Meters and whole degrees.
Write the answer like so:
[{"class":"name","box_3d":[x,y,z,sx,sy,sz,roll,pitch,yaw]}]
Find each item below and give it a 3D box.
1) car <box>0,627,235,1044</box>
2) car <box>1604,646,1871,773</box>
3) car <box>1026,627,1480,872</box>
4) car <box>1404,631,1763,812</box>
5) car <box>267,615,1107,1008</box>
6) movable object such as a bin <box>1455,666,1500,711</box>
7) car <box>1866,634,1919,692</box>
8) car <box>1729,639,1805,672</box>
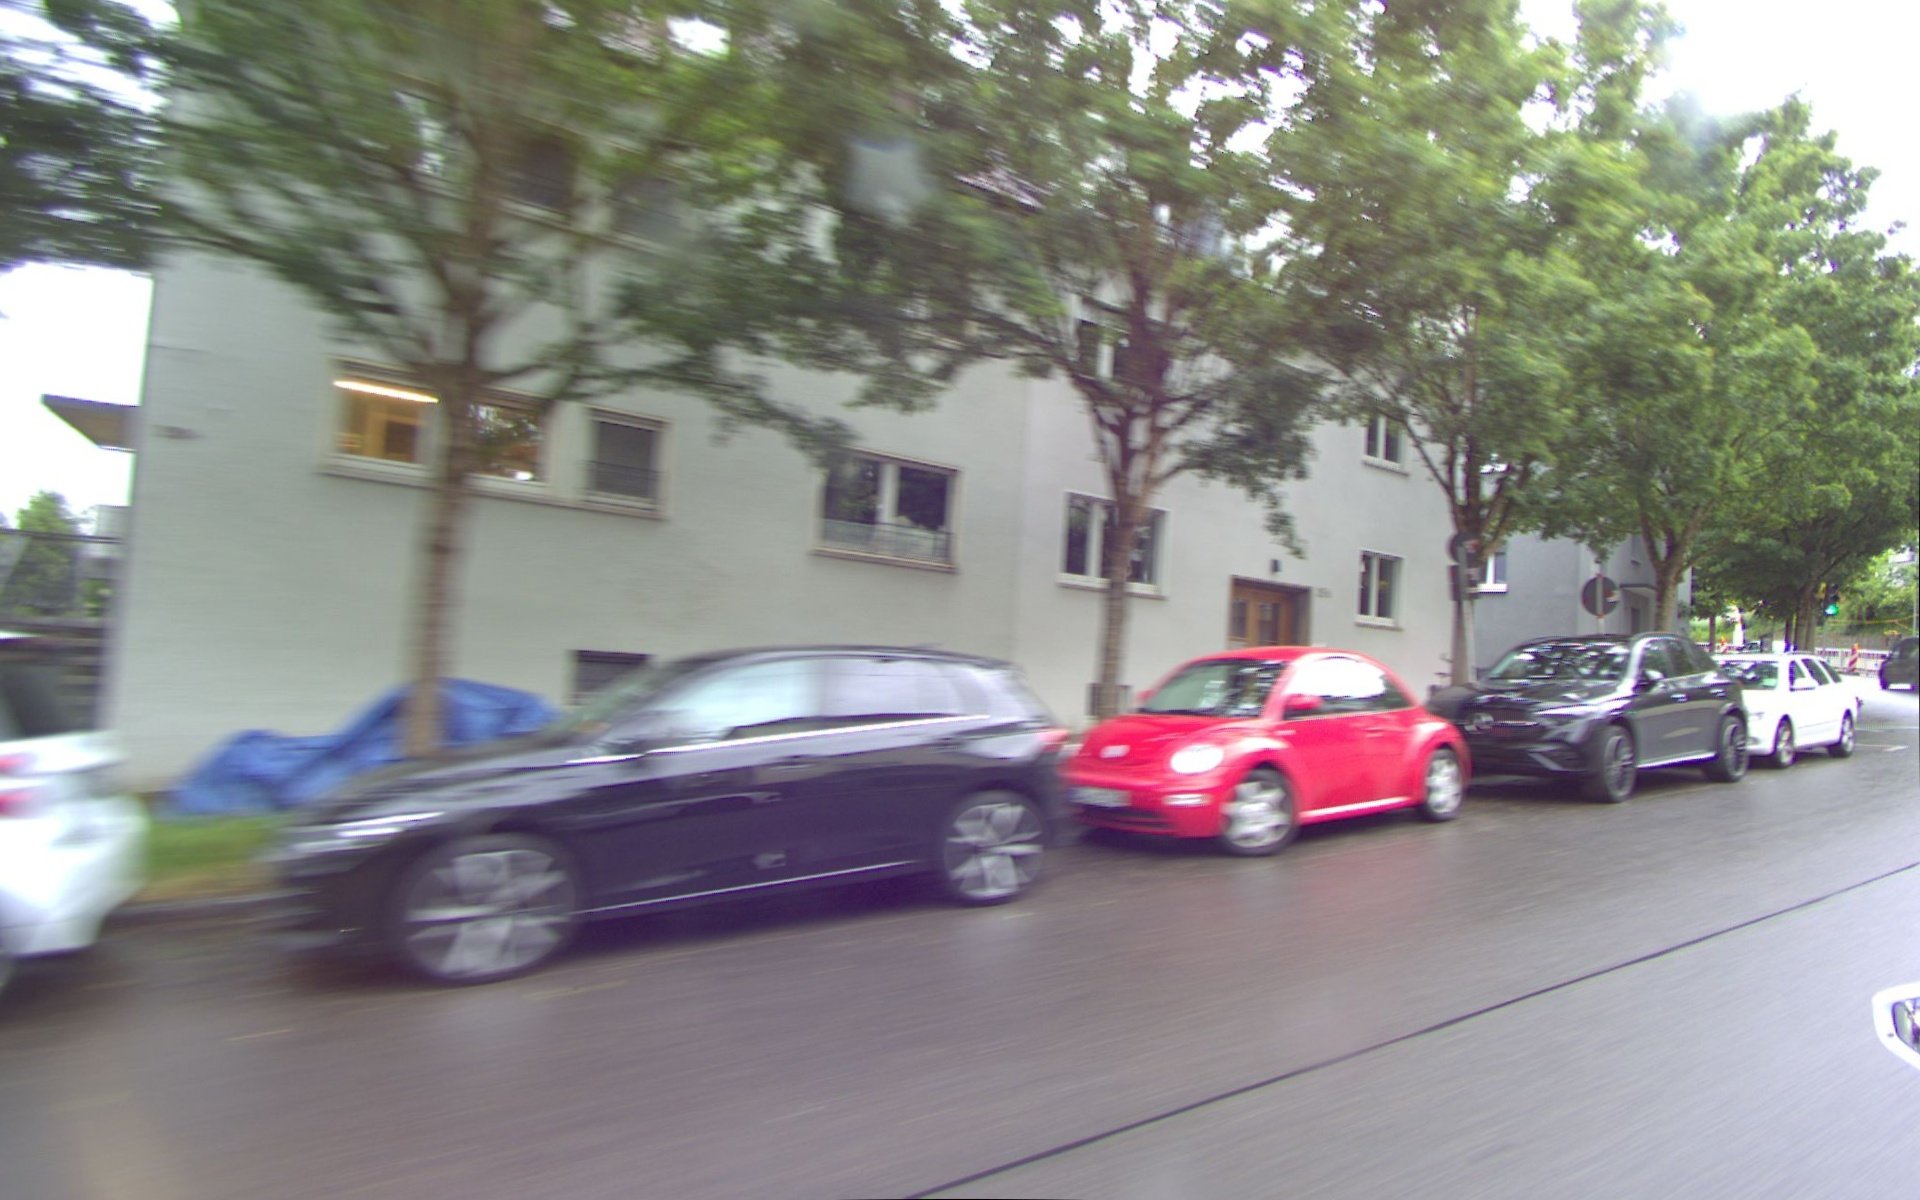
[{"class":"car","box_3d":[-4.992,0.885,3.833,3.342,1.530,1.550,3,-6,-28]},{"class":"car","box_3d":[10.979,1.447,14.101,4.271,1.528,1.672,2,-5,-34]},{"class":"car","box_3d":[2.524,1.129,8.324,3.813,1.584,1.622,4,-6,-36]},{"class":"car","box_3d":[6.966,1.189,11.065,4.530,1.629,1.671,2,-3,-35]},{"class":"car","box_3d":[-1.275,0.966,5.591,4.049,1.507,1.549,3,-6,-30]},{"class":"movable object such as a bin","box_3d":[11.657,1.985,22.645,0.635,0.963,0.654,1,-2,-25]},{"class":"car","box_3d":[31.880,2.048,33.100,1.963,1.817,3.996,-1,-3,27]},{"class":"car","box_3d":[37.875,2.600,47.247,1.693,1.505,4.075,-1,-3,23]}]
